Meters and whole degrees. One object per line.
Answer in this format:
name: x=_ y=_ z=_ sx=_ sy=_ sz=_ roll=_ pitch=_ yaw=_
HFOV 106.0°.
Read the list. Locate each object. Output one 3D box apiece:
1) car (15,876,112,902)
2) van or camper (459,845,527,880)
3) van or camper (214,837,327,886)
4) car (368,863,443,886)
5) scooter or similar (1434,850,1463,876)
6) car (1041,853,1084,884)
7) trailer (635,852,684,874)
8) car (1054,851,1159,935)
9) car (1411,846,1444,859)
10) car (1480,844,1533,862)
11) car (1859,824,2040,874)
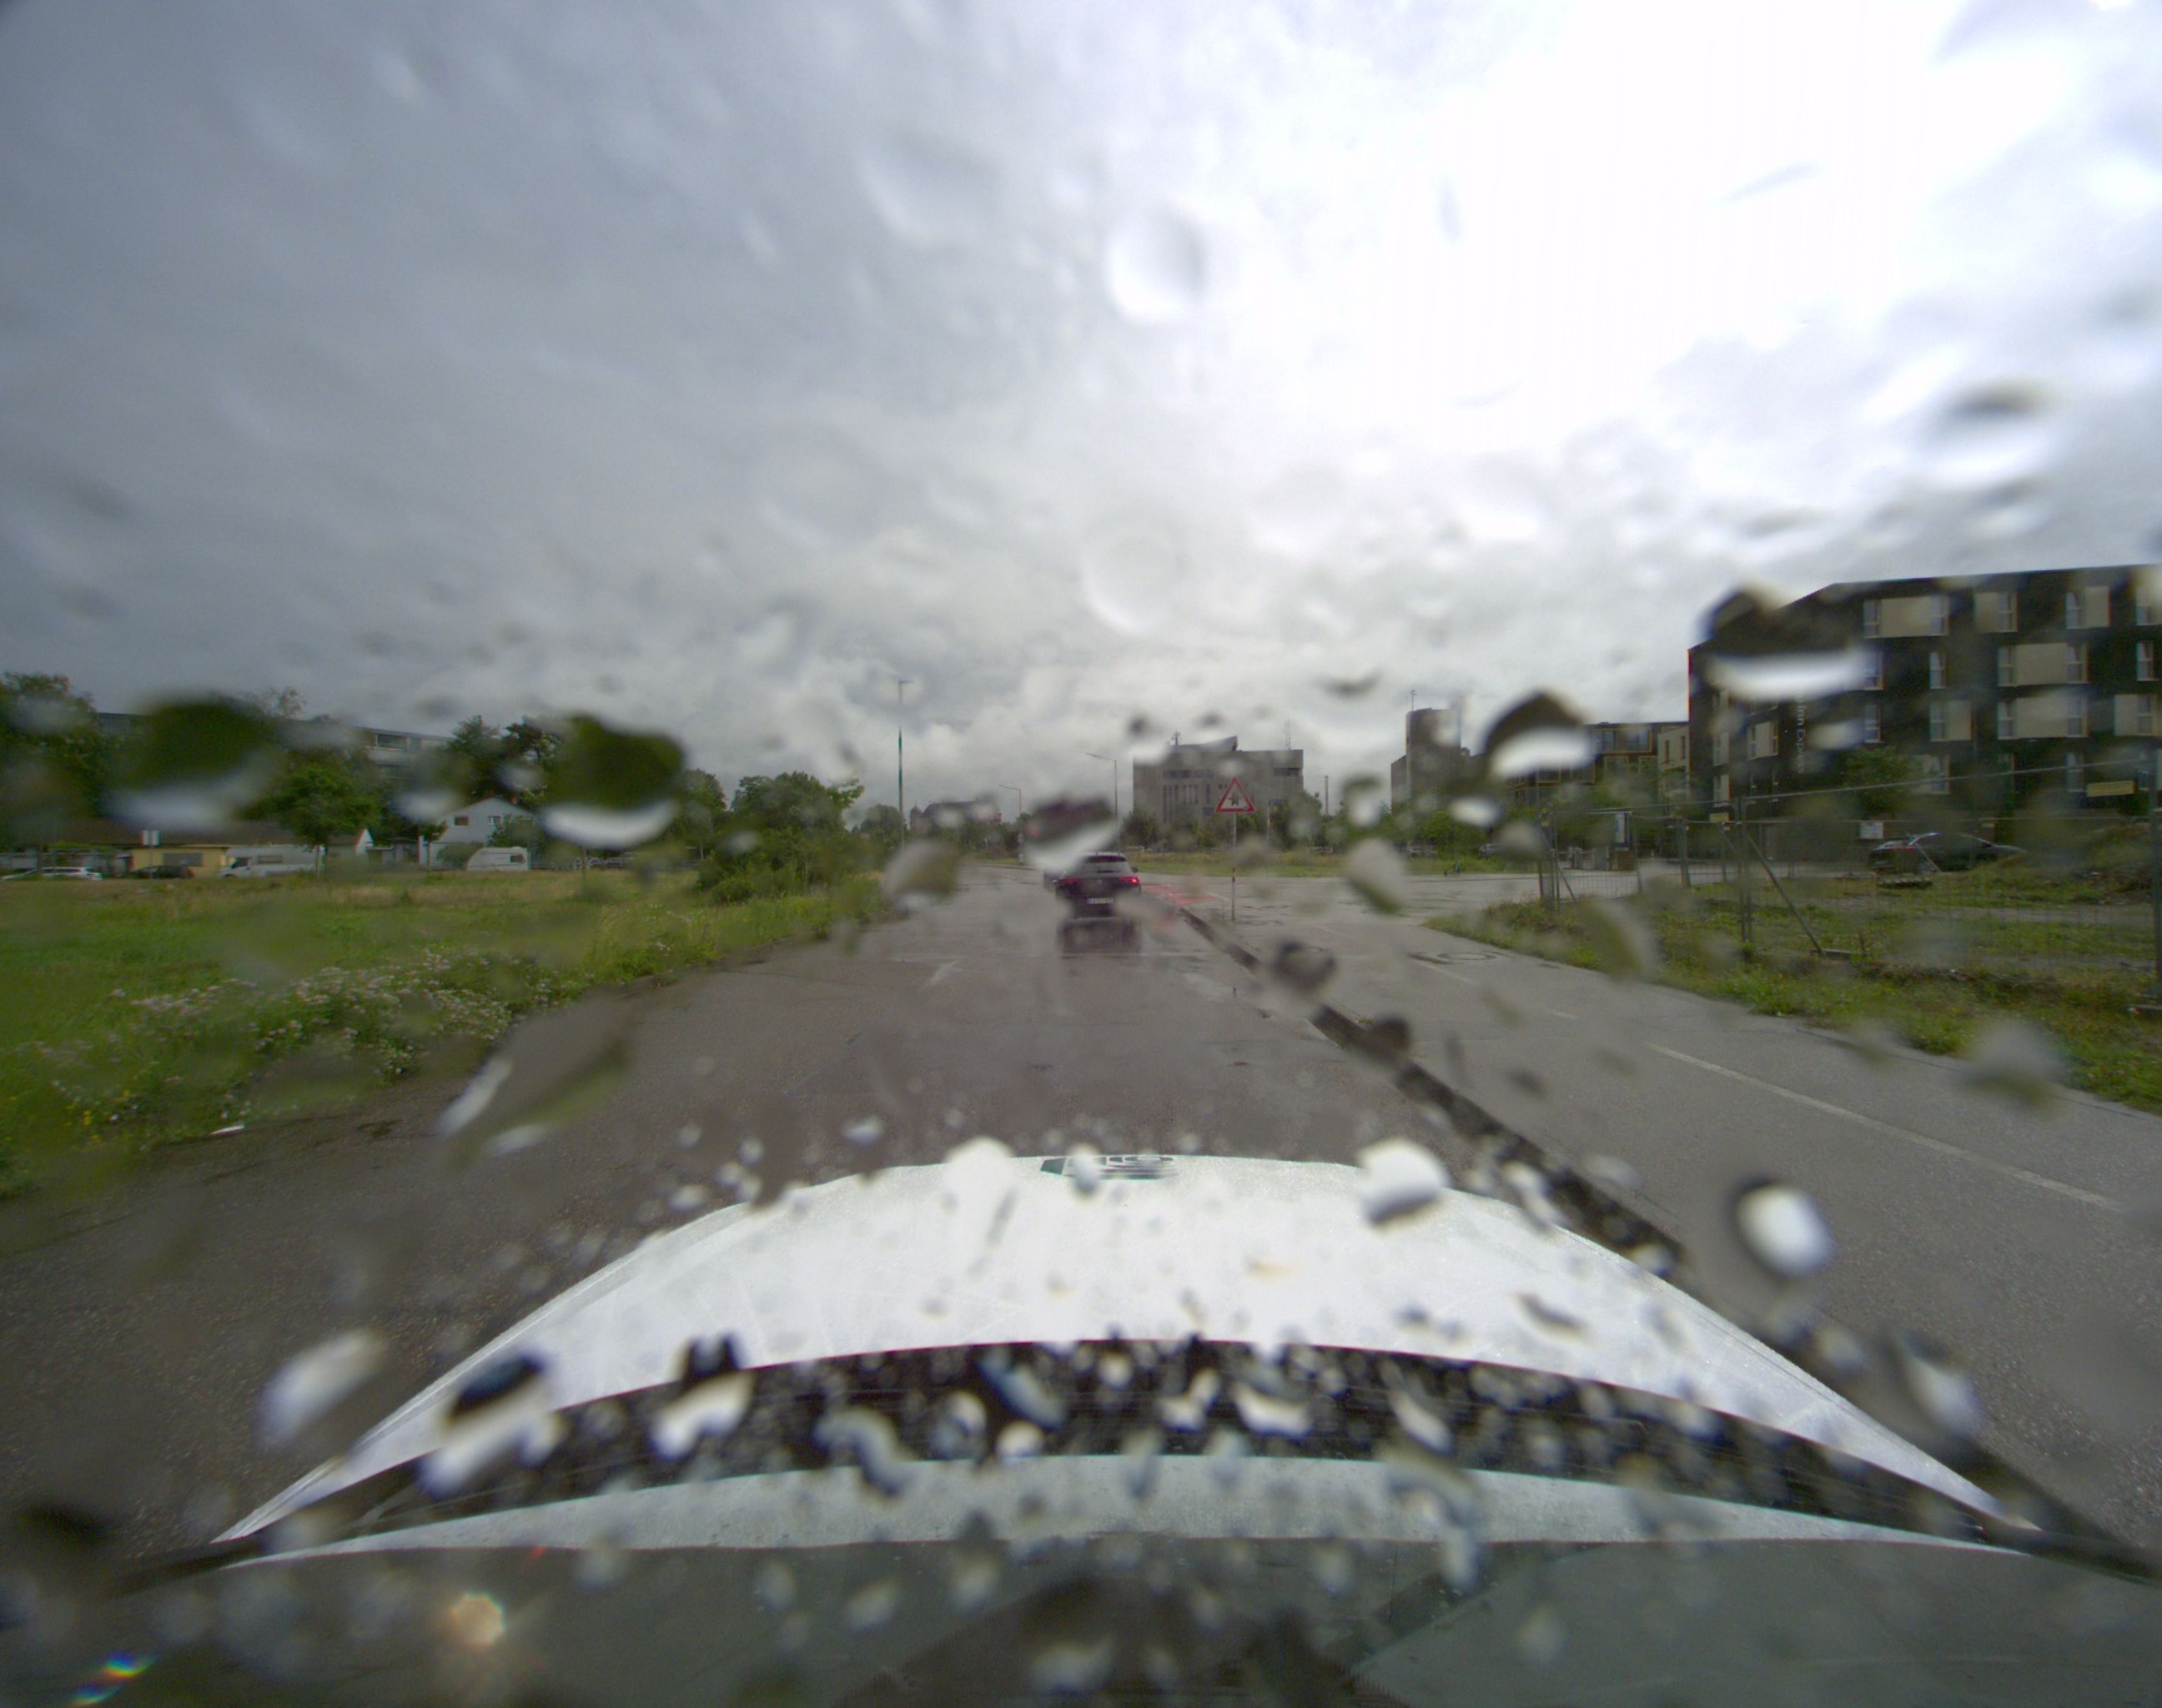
car: x=-74.644 y=2.530 z=59.842 sx=4.011 sy=1.703 sz=1.864 roll=-1 pitch=0 yaw=-29
van or camper: x=-52.368 y=0.720 z=72.646 sx=4.527 sy=2.945 sz=2.461 roll=-1 pitch=0 yaw=-28
van or camper: x=-64.765 y=0.570 z=65.235 sx=5.866 sy=3.744 sz=2.630 roll=-1 pitch=0 yaw=-28
car: x=-57.311 y=1.712 z=69.215 sx=4.530 sy=1.775 sz=1.982 roll=-1 pitch=0 yaw=-28
scooter or similar: x=18.108 y=0.443 z=40.120 sx=1.284 sy=1.187 sz=0.500 roll=-2 pitch=2 yaw=-19
car: x=-1.020 y=0.729 z=42.785 sx=1.839 sy=1.442 sz=3.991 roll=-3 pitch=0 yaw=-6
trailer: x=-41.338 y=0.919 z=79.871 sx=4.126 sy=2.089 sz=1.827 roll=1 pitch=-1 yaw=-31
car: x=0.440 y=0.757 z=17.933 sx=1.982 sy=1.520 sz=3.997 roll=-3 pitch=0 yaw=-2
car: x=47.370 y=-0.225 z=111.424 sx=3.958 sy=1.720 sz=1.776 roll=-1 pitch=0 yaw=14
car: x=40.078 y=-0.075 z=76.765 sx=4.175 sy=1.557 sz=1.673 roll=-2 pitch=0 yaw=14
car: x=30.354 y=-0.132 z=28.600 sx=3.966 sy=1.618 sz=2.003 roll=-1 pitch=-3 yaw=7
